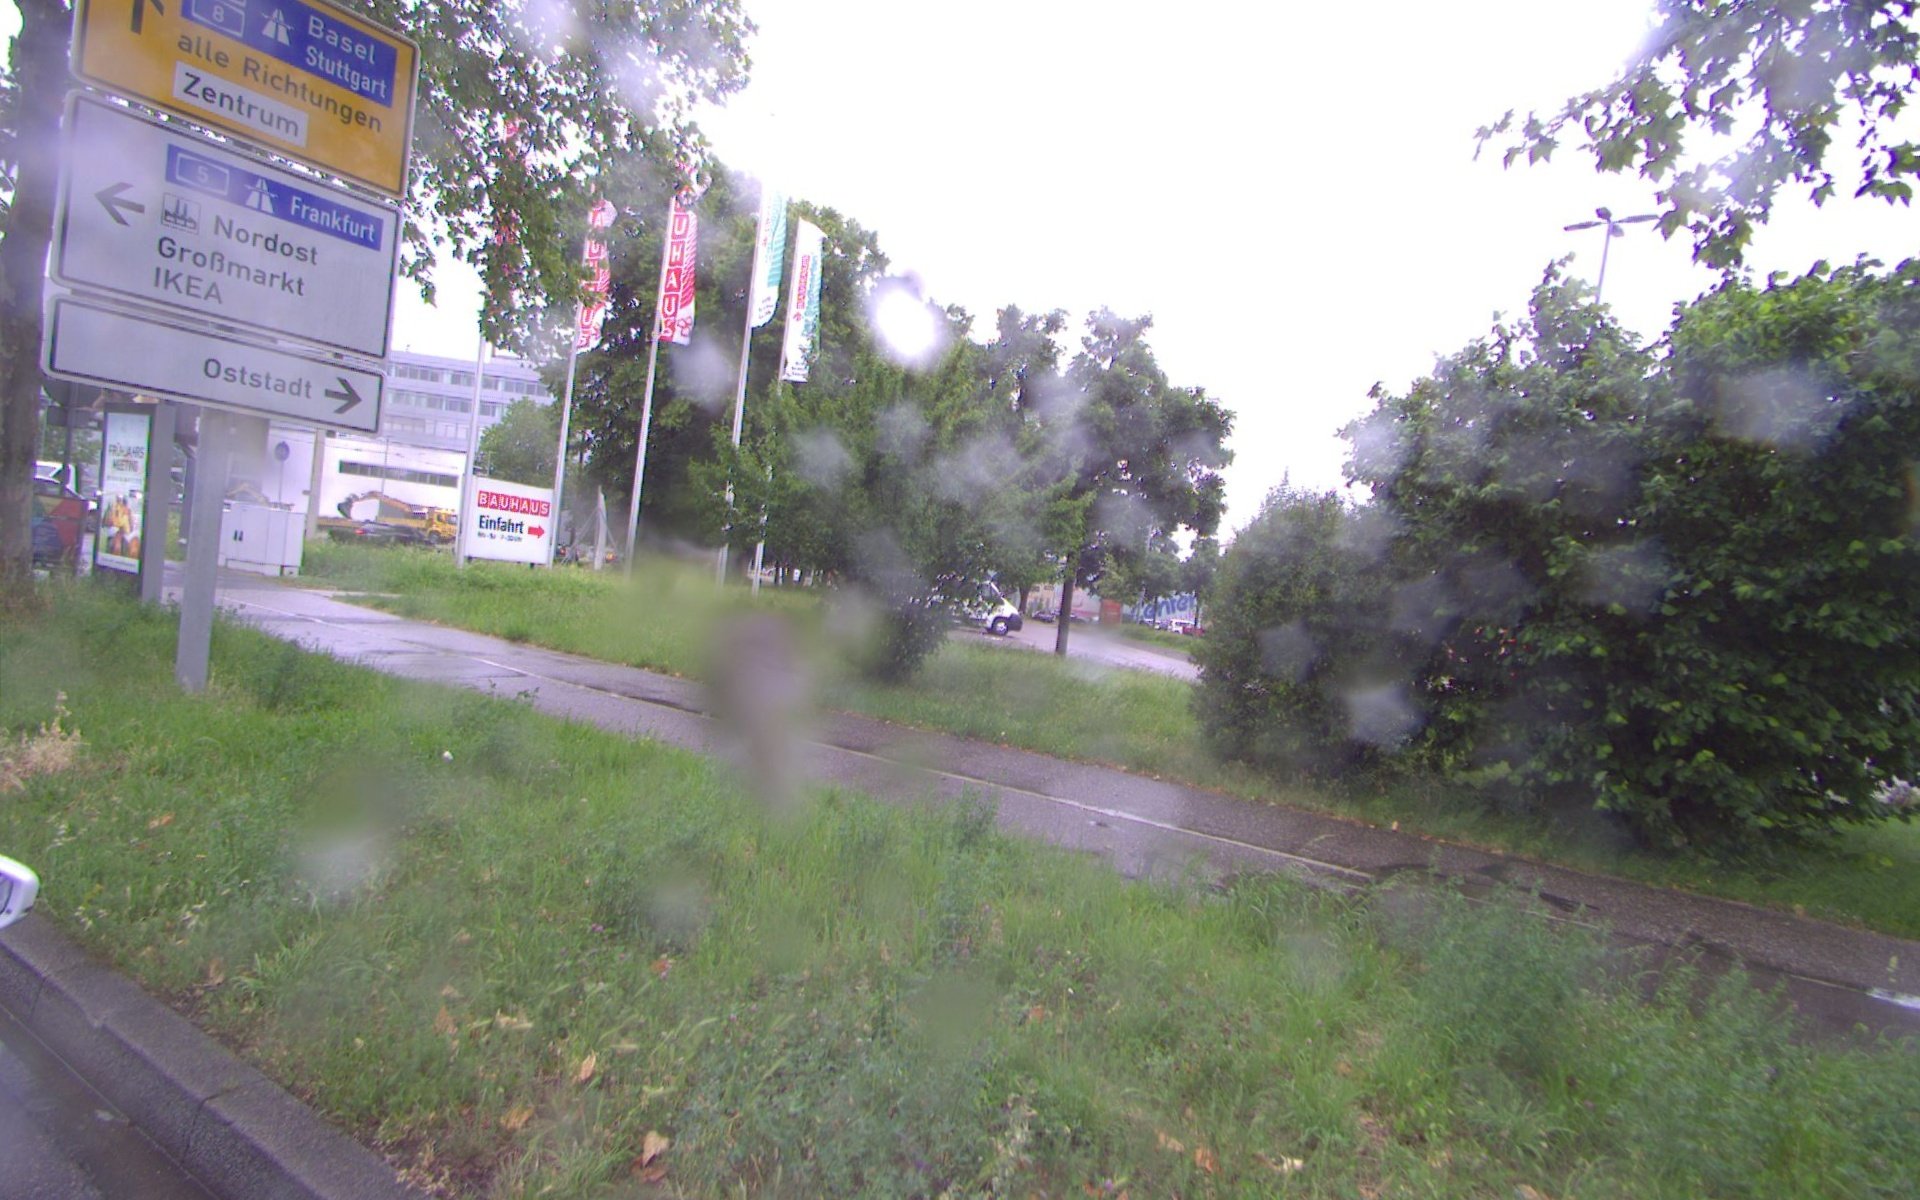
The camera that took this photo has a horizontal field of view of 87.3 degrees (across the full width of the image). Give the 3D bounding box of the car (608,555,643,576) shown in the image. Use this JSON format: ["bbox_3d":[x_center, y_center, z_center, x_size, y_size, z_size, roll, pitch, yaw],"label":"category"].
[{"bbox_3d":[-29.617,-3.056,89.175,1.769,1.556,4.384,7,0,-4],"label":"car"}]

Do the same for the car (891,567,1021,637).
[{"bbox_3d":[-0.195,0.096,40.655,4.833,2.180,1.803,7,0,-9],"label":"car"}]

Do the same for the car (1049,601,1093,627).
[{"bbox_3d":[11.179,1.412,101.373,4.085,2.037,2.001,7,-1,1],"label":"car"}]

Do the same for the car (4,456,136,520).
[{"bbox_3d":[-37.792,-4.704,42.882,1.769,2.220,4.380,6,2,-3],"label":"car"}]

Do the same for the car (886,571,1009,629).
[{"bbox_3d":[-0.762,-0.011,57.935,6.702,2.464,2.327,7,0,-4],"label":"car"}]

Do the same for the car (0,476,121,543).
[{"bbox_3d":[-26.679,-2.653,28.640,1.963,1.539,4.063,8,0,2],"label":"car"}]

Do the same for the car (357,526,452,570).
[{"bbox_3d":[-26.181,-2.404,47.601,1.768,1.555,4.389,7,-1,3],"label":"car"}]

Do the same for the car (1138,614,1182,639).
[{"bbox_3d":[20.865,2.755,105.089,4.085,2.037,2.001,7,-1,1],"label":"car"}]

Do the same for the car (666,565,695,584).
[{"bbox_3d":[-27.616,-2.525,99.429,1.770,1.556,4.383,7,0,-4],"label":"car"}]

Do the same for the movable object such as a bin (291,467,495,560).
[{"bbox_3d":[-55.292,-8.306,98.935,14.695,6.356,8.270,7,-1,-2],"label":"movable object such as a bin"}]

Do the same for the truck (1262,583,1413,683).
[{"bbox_3d":[17.001,1.392,46.124,2.950,3.857,8.283,7,0,-4],"label":"truck"}]

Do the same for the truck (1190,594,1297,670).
[{"bbox_3d":[16.733,1.778,60.209,2.950,3.857,8.951,7,0,-4],"label":"truck"}]
